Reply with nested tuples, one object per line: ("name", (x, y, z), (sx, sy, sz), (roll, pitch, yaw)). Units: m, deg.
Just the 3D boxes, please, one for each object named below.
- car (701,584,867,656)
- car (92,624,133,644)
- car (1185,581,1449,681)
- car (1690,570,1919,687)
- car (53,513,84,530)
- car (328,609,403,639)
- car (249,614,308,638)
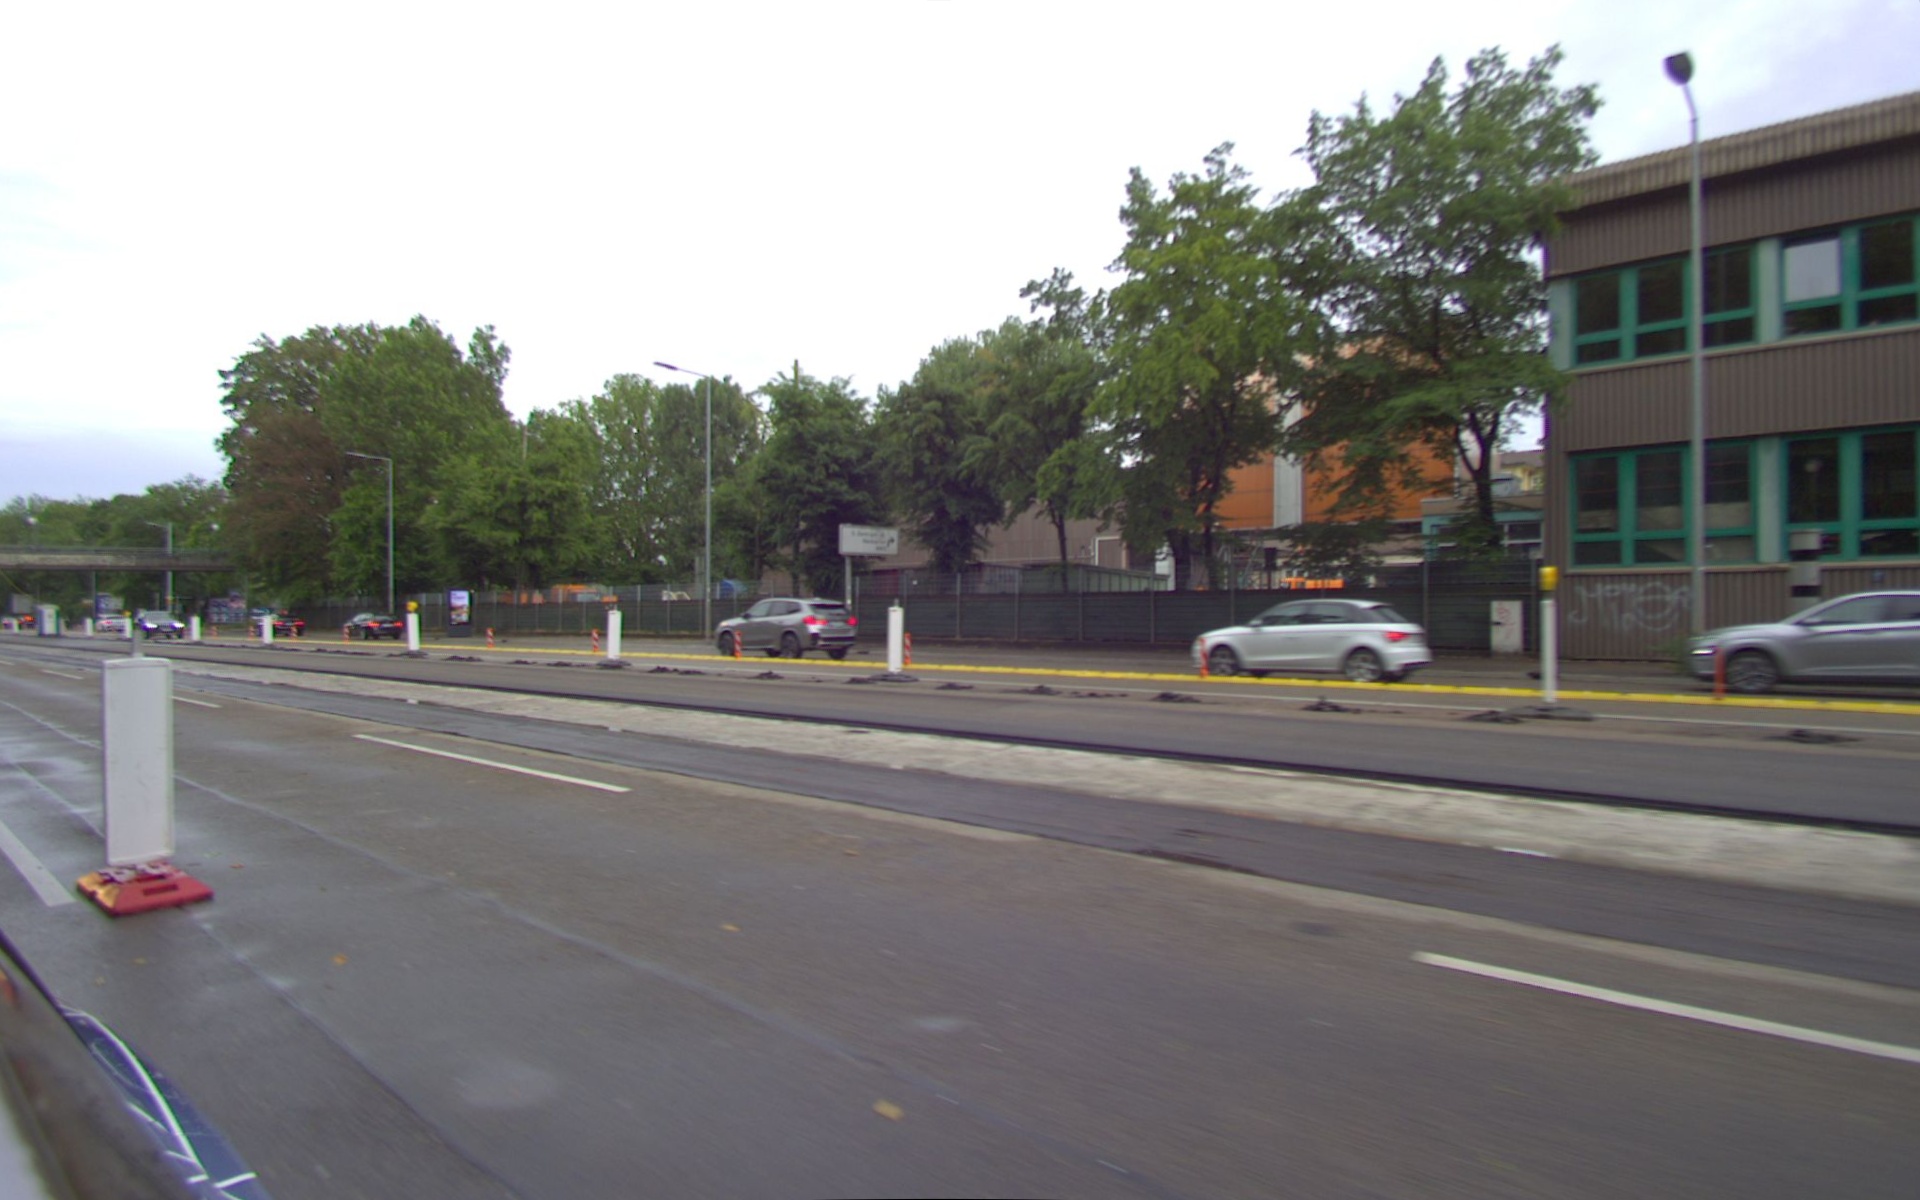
("car", (-4.810, 0.492, 27.309), (4.674, 1.781, 1.967), (-1, 0, 42))
("car", (-71.315, 2.828, 85.139), (4.264, 1.524, 1.973), (-1, 0, 41))
("car", (6.157, 0.482, 17.686), (3.989, 1.546, 1.785), (-1, 0, 41))
("car", (13.365, 0.376, 14.827), (4.177, 1.598, 1.973), (-1, 0, 41))
("car", (-99.136, -8.681, 112.539), (4.302, 1.529, 1.973), (-1, 0, 41))
("car", (-31.679, 1.237, 53.900), (4.762, 1.465, 2.025), (-1, 0, 41))
("car", (-43.479, 1.628, 64.544), (4.261, 1.440, 1.974), (-1, 0, 40))
